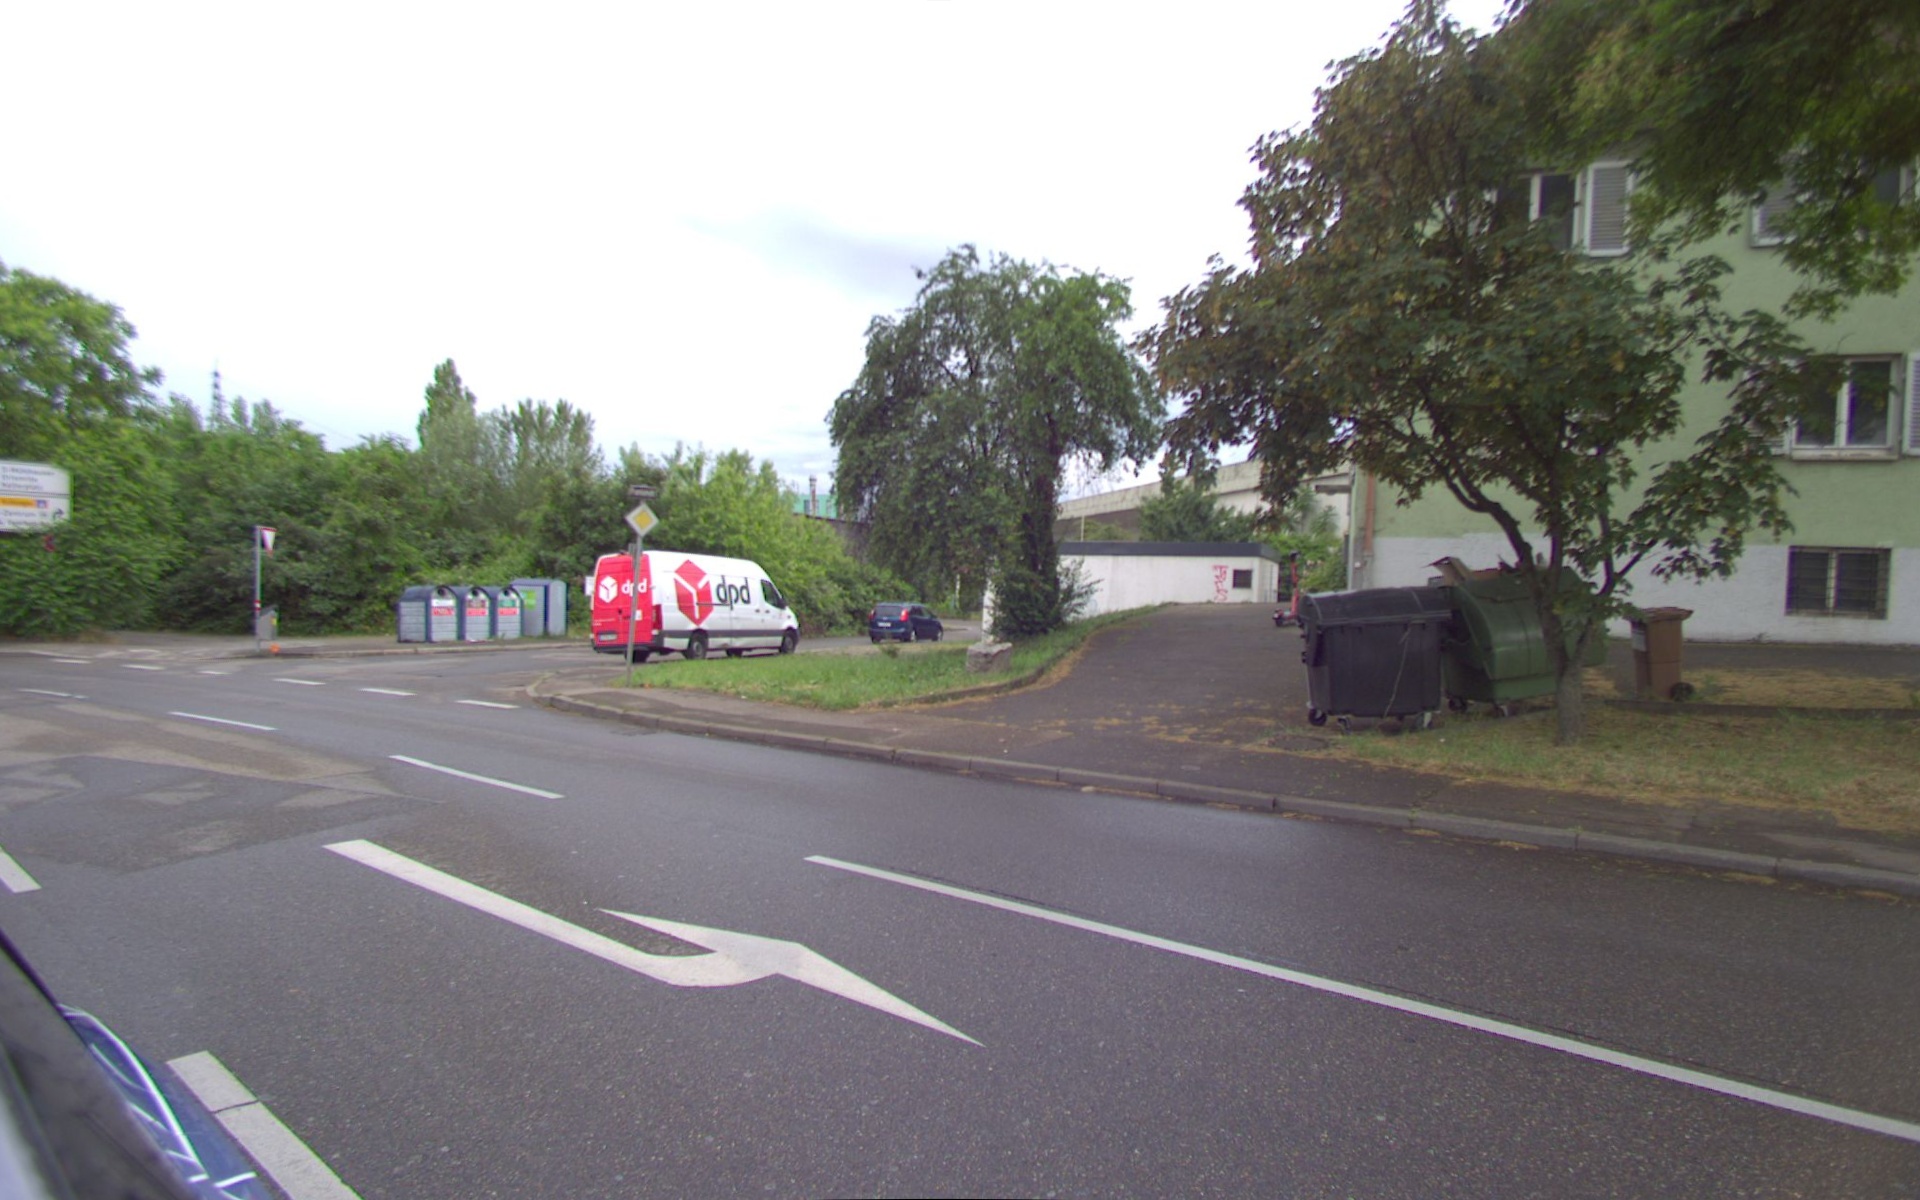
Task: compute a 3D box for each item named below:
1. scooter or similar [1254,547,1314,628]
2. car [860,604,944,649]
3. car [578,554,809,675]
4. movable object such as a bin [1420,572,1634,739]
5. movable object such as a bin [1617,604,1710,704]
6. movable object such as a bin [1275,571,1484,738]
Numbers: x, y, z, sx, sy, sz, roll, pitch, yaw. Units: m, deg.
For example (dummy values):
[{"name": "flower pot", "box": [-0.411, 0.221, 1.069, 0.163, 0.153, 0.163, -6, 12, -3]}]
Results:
[{"name": "scooter or similar", "box": [5.512, -0.239, 17.153, 0.529, 1.283, 1.507, 1, 4, 35]}, {"name": "car", "box": [-2.241, 0.999, 40.416, 1.984, 1.642, 4.228, 1, 1, 18]}, {"name": "car", "box": [-6.522, 0.301, 25.926, 2.246, 2.675, 6.777, 1, 0, 20]}, {"name": "movable object such as a bin", "box": [5.692, 0.512, 10.239, 1.440, 1.448, 1.102, -5, 3, -6]}, {"name": "movable object such as a bin", "box": [7.193, 0.534, 10.353, 0.723, 0.964, 0.551, 1, 0, 41]}, {"name": "movable object such as a bin", "box": [4.236, 0.502, 10.348, 1.440, 1.448, 1.296, -5, 3, -6]}]
